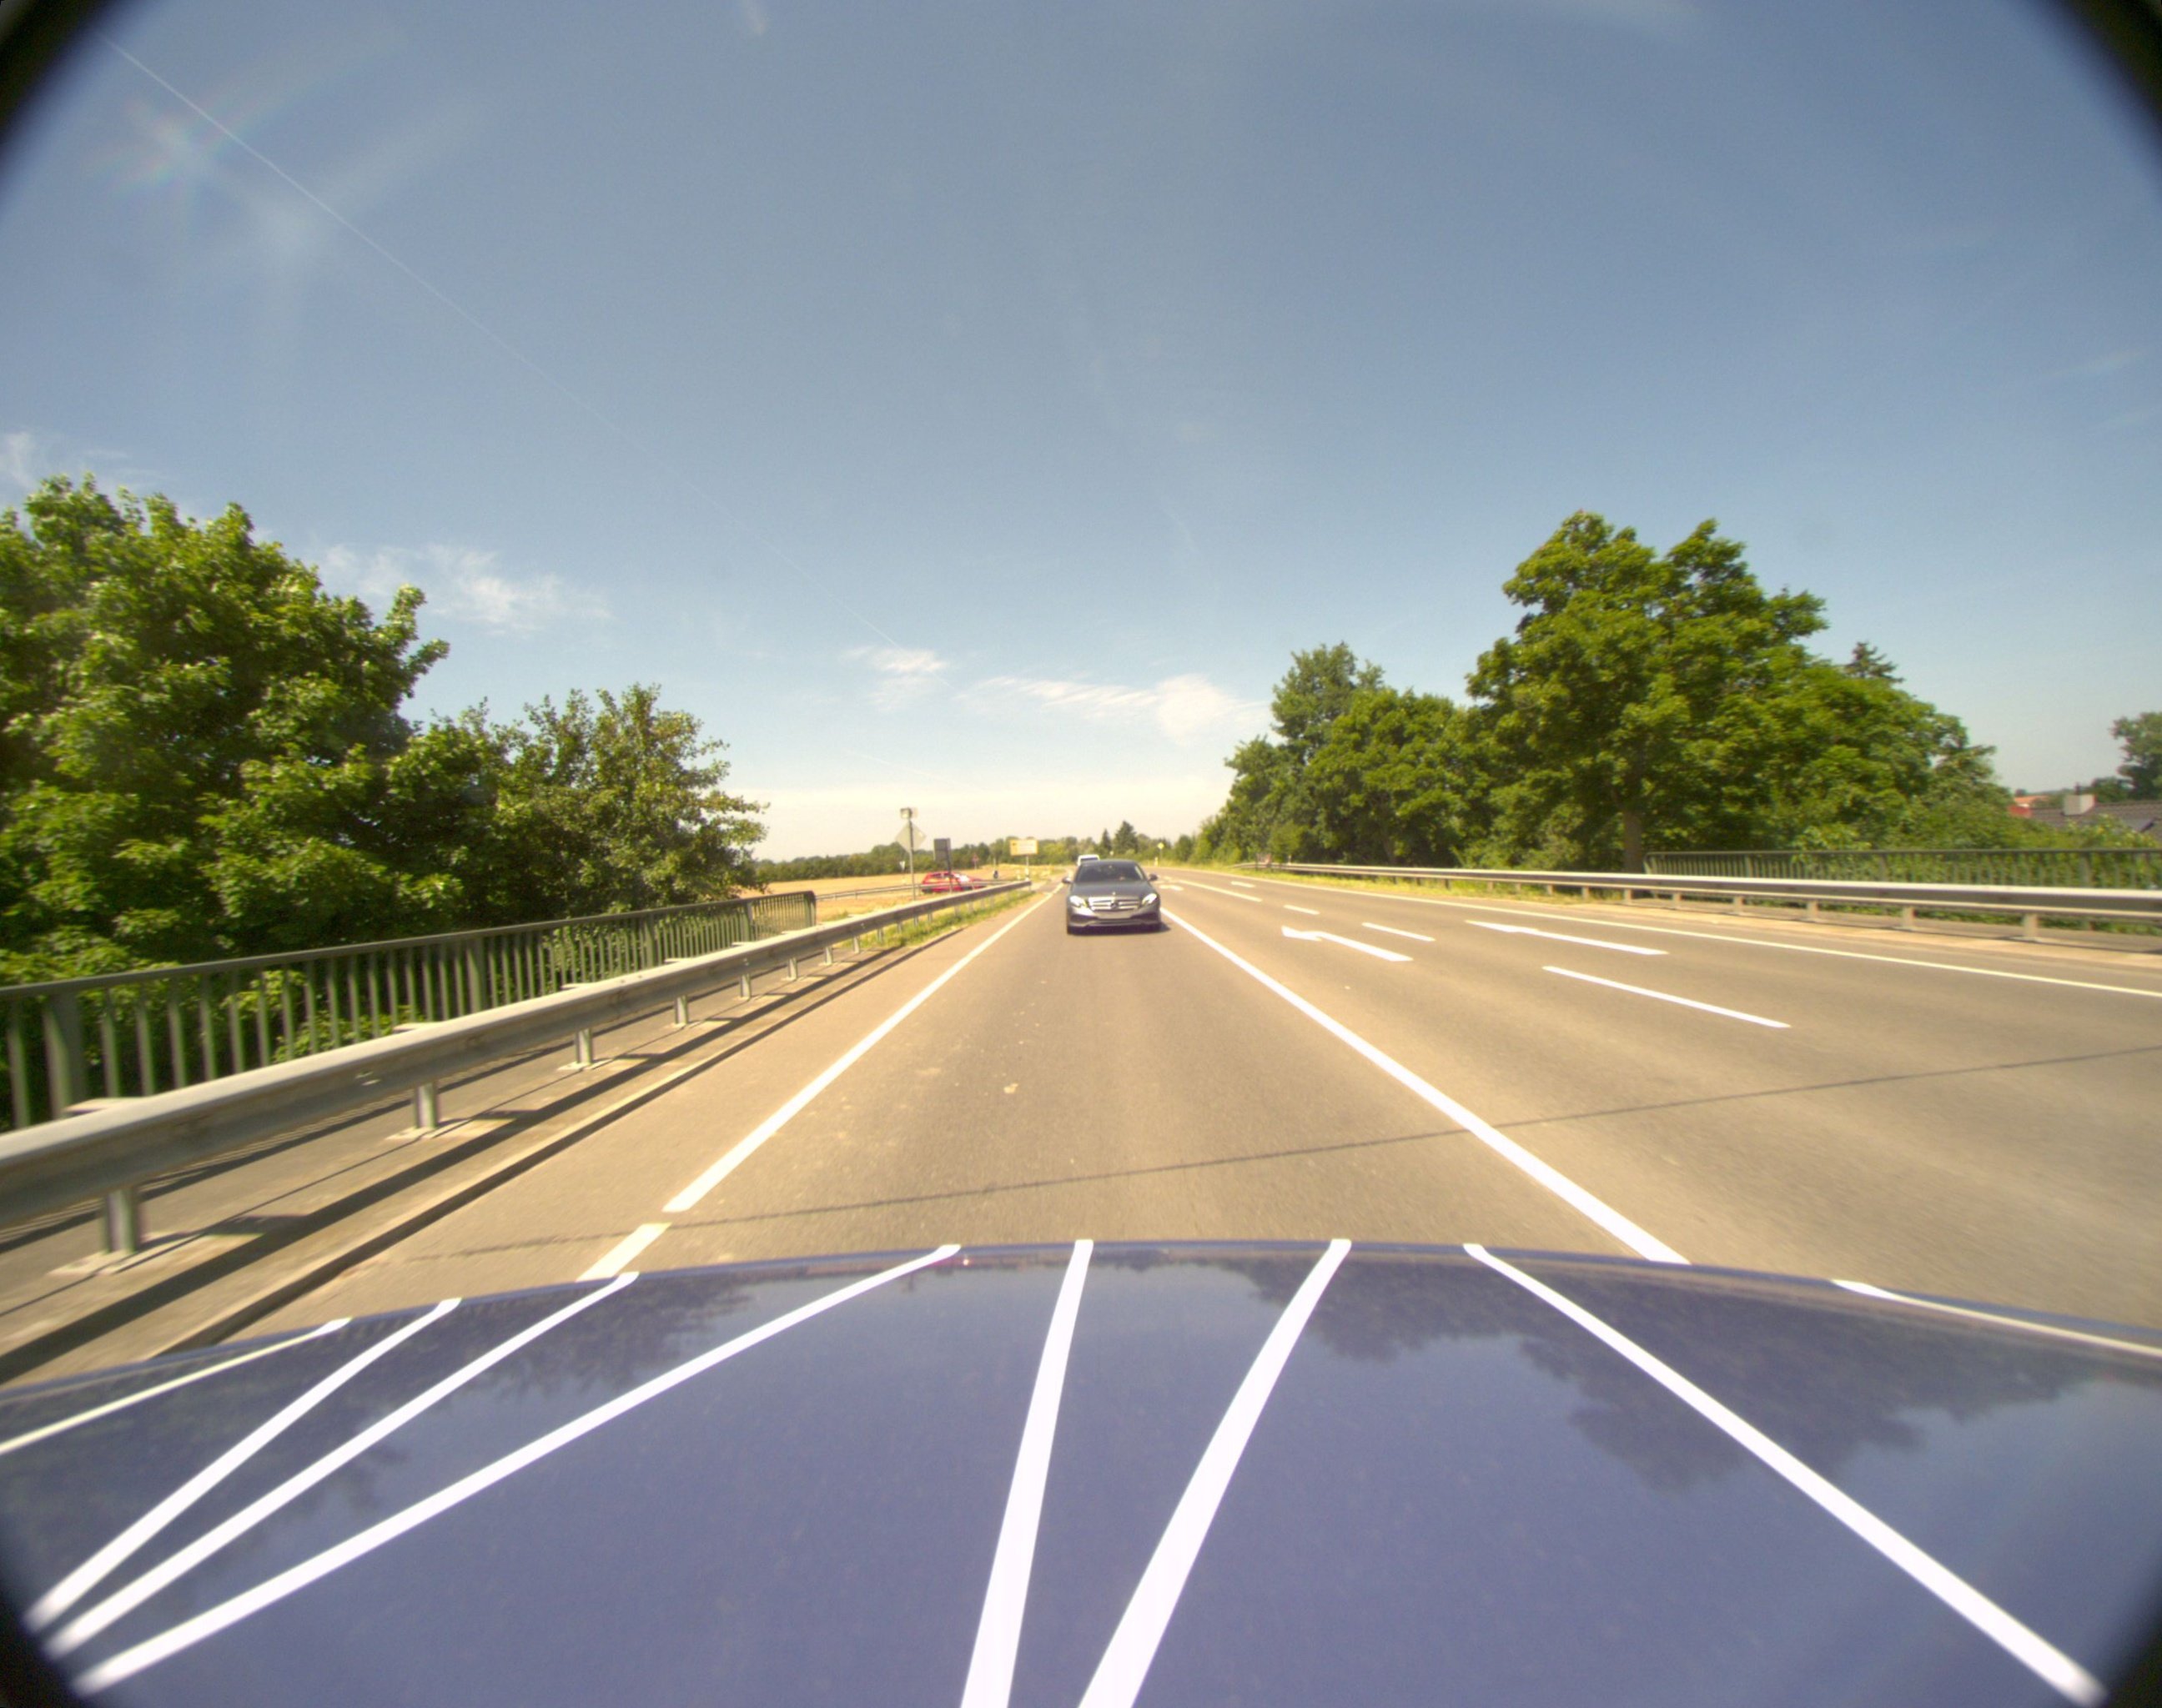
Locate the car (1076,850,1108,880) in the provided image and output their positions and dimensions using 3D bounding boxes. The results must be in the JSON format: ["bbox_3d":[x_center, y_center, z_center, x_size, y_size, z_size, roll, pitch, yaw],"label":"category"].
[{"bbox_3d":[0.789,0.826,59.939,2.179,2.002,5.024,-6,0,-1],"label":"car"}]

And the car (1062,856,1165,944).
[{"bbox_3d":[0.743,0.864,16.455,1.831,1.540,4.500,-3,0,3],"label":"car"}]

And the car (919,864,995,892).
[{"bbox_3d":[-7.669,1.475,47.052,4.159,1.410,1.781,-4,1,14],"label":"car"}]
